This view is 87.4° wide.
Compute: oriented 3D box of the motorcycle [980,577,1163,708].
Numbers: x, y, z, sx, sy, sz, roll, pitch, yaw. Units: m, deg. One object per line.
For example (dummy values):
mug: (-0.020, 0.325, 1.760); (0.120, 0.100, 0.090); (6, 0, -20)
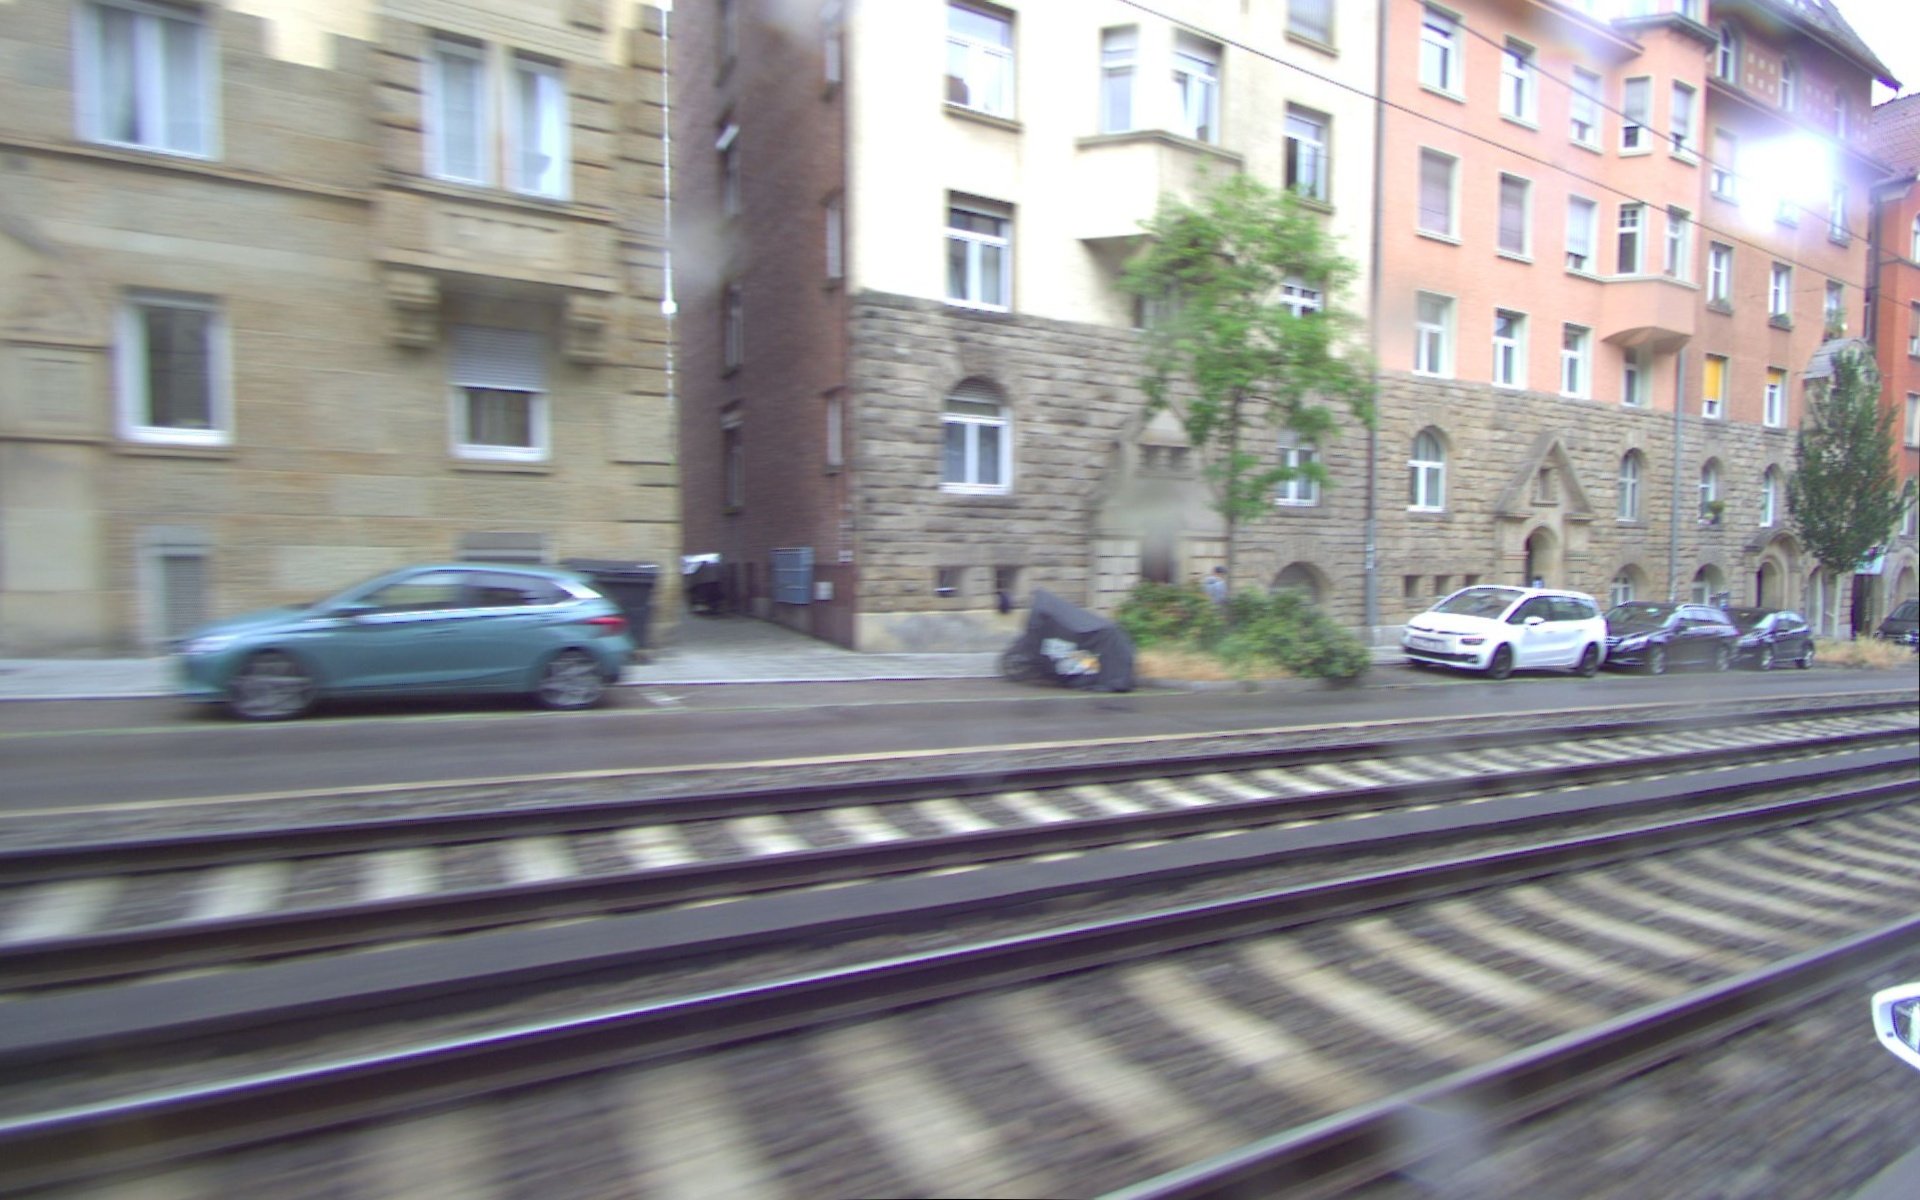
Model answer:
motorcycle: (1.544, 0.539, 14.208); (2.235, 1.664, 1.285); (2, 1, 44)

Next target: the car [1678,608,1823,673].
car: (19.600, 0.956, 24.877); (3.841, 1.417, 1.633); (1, 2, -33)

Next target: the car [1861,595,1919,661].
car: (29.846, 0.861, 30.869); (4.646, 1.927, 1.983); (1, 0, -32)

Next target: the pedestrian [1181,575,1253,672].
pedestrian: (4.915, 0.440, 19.223); (0.913, 1.777, 1.003); (0, 0, -29)

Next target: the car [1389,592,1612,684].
car: (10.476, 0.680, 19.414); (4.298, 1.611, 1.777); (1, 0, -29)

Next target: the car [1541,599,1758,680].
car: (15.410, 0.831, 22.407); (4.914, 1.530, 1.984); (1, 3, -30)

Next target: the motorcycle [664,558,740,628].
motorcycle: (-6.185, -0.200, 23.927); (0.982, 1.534, 2.867); (-2, 2, -30)

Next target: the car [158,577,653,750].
car: (-5.373, 0.540, 10.186); (4.096, 1.457, 1.554); (1, 1, -30)
